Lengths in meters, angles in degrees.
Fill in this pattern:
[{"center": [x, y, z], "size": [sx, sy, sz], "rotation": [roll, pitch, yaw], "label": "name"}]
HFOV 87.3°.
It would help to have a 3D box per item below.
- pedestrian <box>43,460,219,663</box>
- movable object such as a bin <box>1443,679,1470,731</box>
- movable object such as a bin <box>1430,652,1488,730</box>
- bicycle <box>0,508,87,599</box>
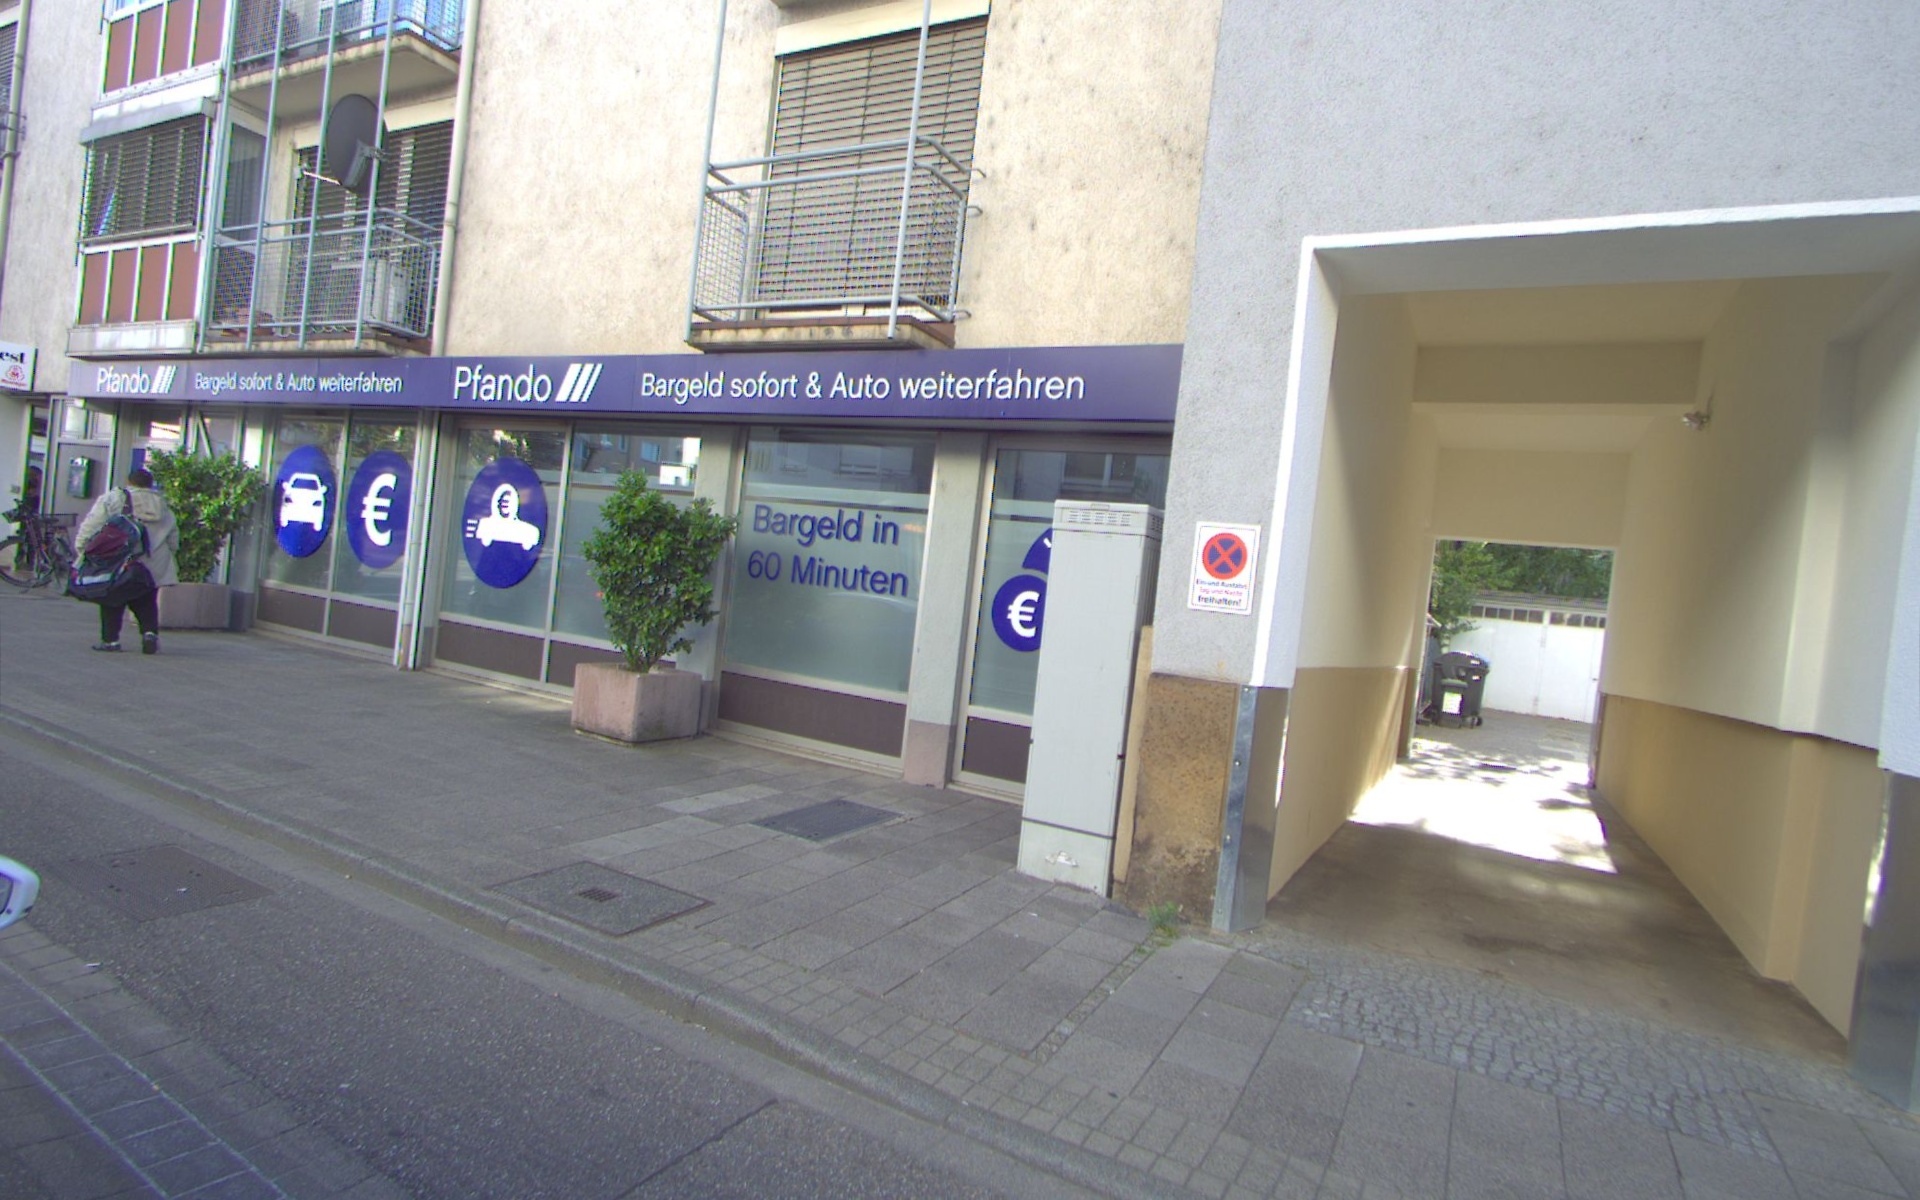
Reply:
[{"center": [-7.145, -0.318, 8.690], "size": [0.738, 1.611, 0.827], "rotation": [6, -1, 31], "label": "pedestrian"}, {"center": [9.572, 2.019, 19.395], "size": [0.365, 0.920, 0.420], "rotation": [7, 2, 28], "label": "movable object such as a bin"}, {"center": [9.925, 1.789, 20.001], "size": [0.873, 1.411, 0.758], "rotation": [7, 2, 28], "label": "movable object such as a bin"}, {"center": [-11.919, -0.615, 12.896], "size": [1.678, 1.010, 0.543], "rotation": [6, -1, 32], "label": "bicycle"}]
